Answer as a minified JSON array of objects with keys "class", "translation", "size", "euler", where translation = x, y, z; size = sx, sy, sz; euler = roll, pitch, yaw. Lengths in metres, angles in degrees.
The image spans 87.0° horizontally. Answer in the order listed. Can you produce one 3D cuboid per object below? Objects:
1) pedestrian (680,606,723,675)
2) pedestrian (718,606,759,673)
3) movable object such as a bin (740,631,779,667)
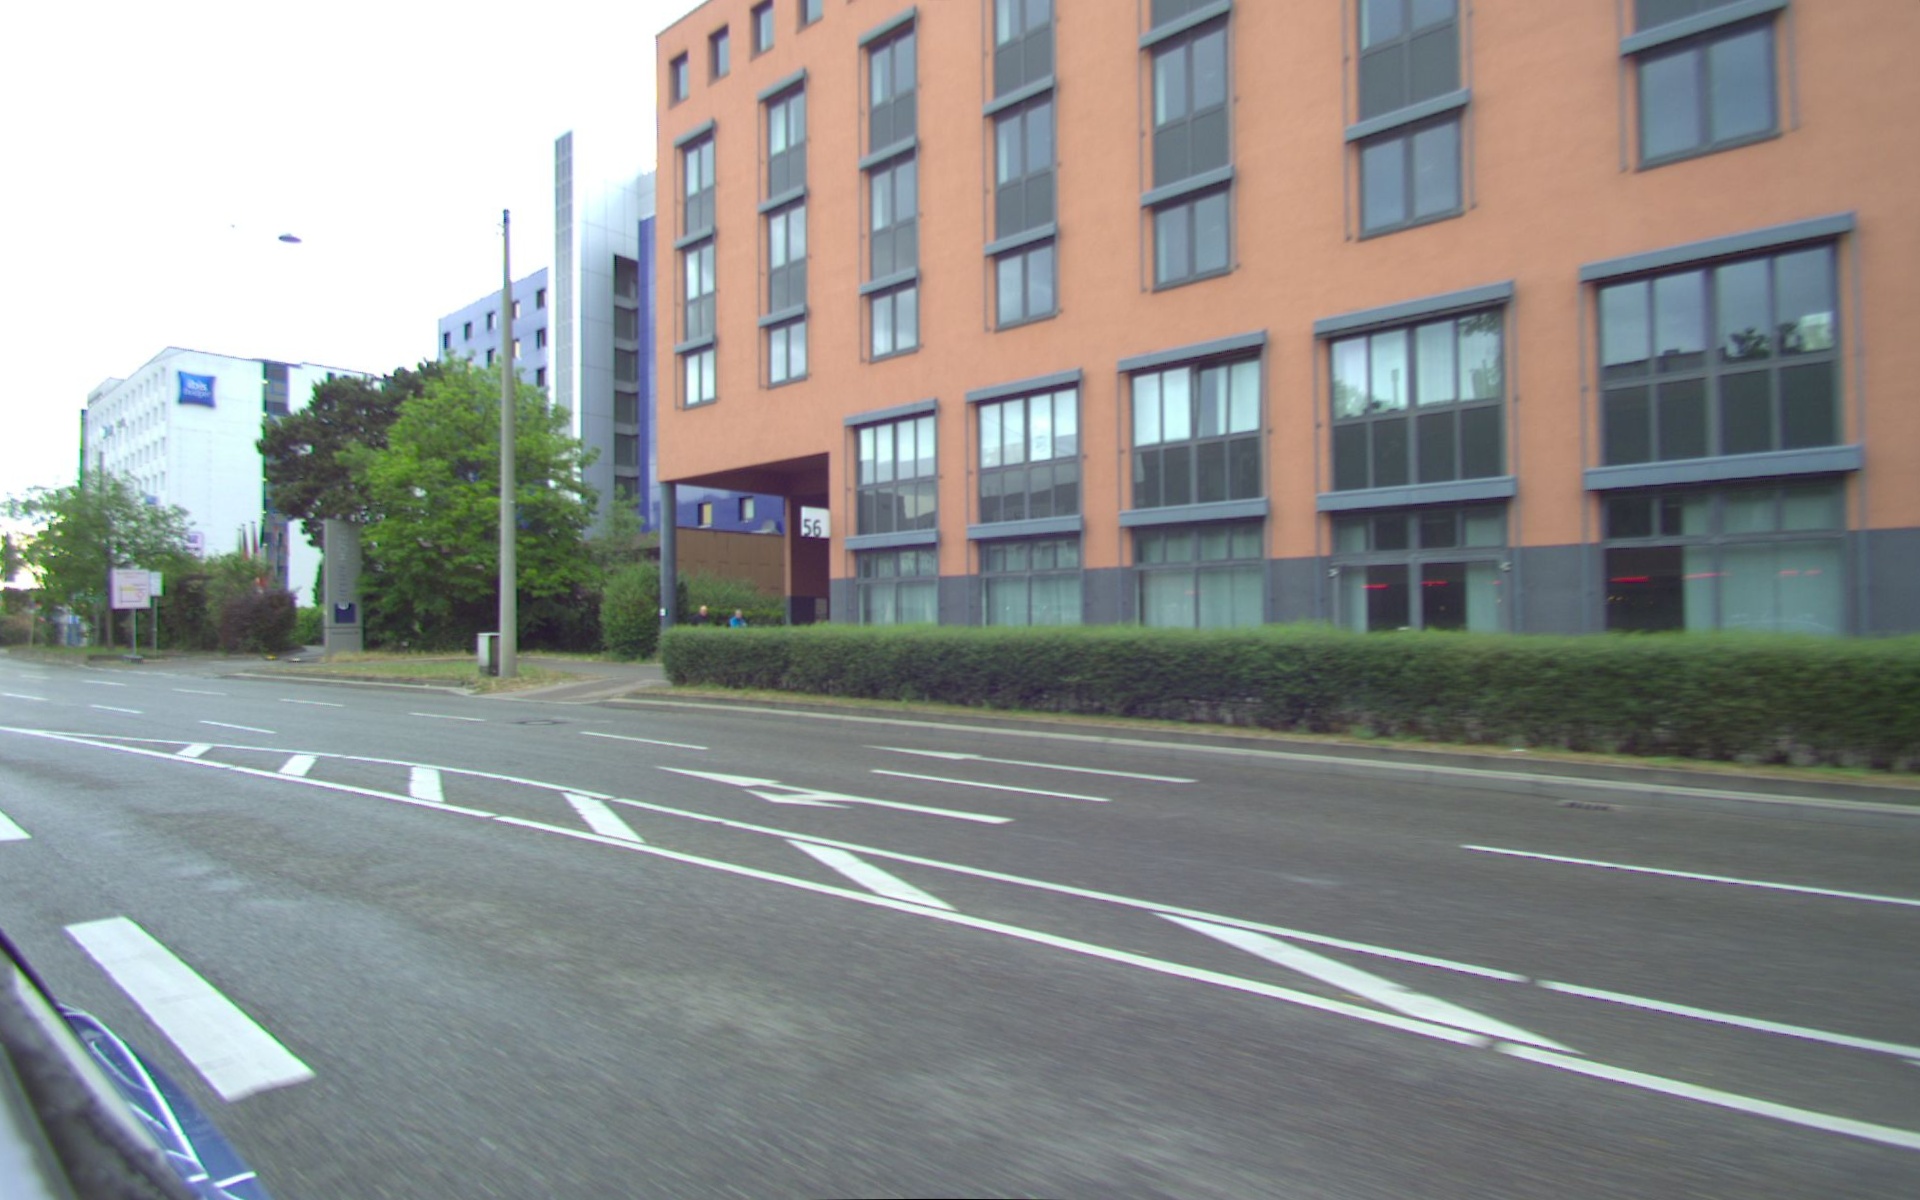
[{"class":"pedestrian","translation":[-7.088,1.094,27.699],"size":[0.885,1.855,0.738],"euler":[-2,-1,40]},{"class":"pedestrian","translation":[-6.262,1.098,28.598],"size":[0.885,1.855,0.738],"euler":[-2,-1,40]},{"class":"movable object such as a bin","translation":[-7.255,1.768,36.662],"size":[1.208,1.257,0.773],"euler":[-2,-2,37]}]
